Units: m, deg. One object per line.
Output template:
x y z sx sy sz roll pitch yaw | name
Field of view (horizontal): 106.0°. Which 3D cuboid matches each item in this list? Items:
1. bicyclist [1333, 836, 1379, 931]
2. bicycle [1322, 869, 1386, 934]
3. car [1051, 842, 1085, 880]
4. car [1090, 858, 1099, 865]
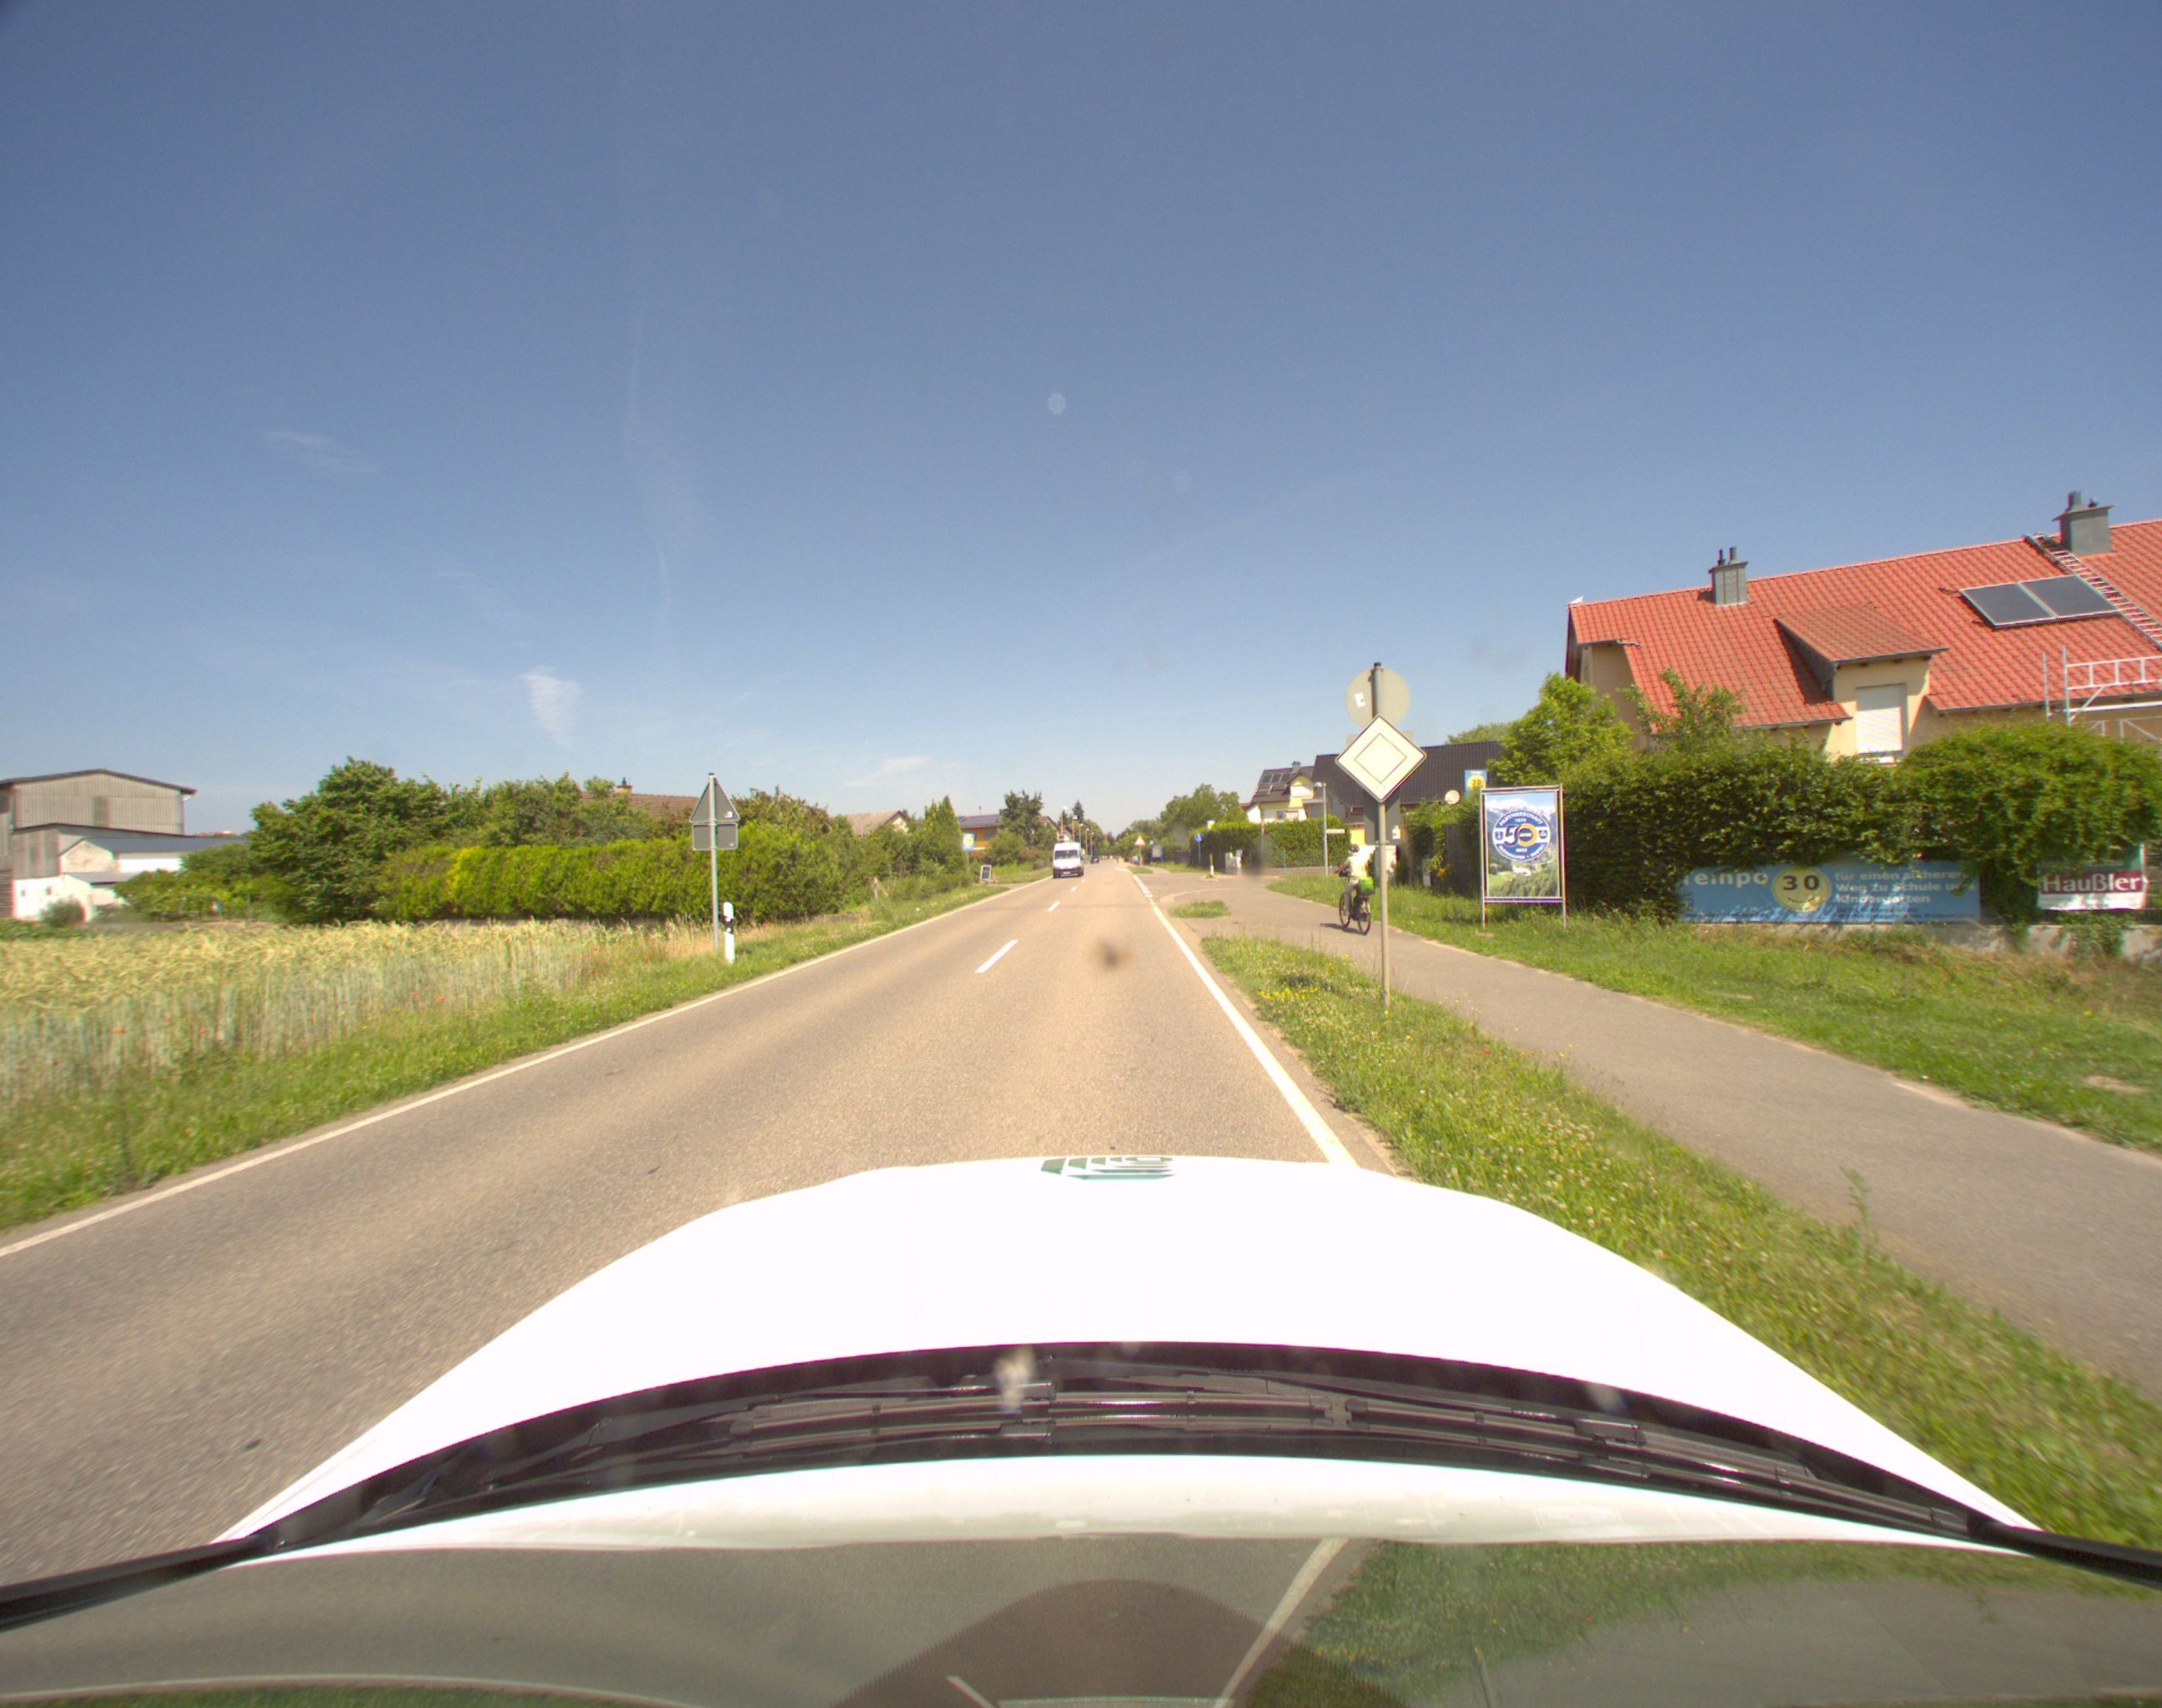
5.605 0.580 16.637 0.642 1.889 0.861 -1 0 1 | bicyclist
5.606 0.937 16.852 0.608 1.158 2.275 -1 1 2 | bicycle
-0.898 0.466 59.260 2.069 2.542 5.876 -3 0 2 | car
2.969 1.686 179.768 1.752 1.385 3.454 -3 0 2 | car
